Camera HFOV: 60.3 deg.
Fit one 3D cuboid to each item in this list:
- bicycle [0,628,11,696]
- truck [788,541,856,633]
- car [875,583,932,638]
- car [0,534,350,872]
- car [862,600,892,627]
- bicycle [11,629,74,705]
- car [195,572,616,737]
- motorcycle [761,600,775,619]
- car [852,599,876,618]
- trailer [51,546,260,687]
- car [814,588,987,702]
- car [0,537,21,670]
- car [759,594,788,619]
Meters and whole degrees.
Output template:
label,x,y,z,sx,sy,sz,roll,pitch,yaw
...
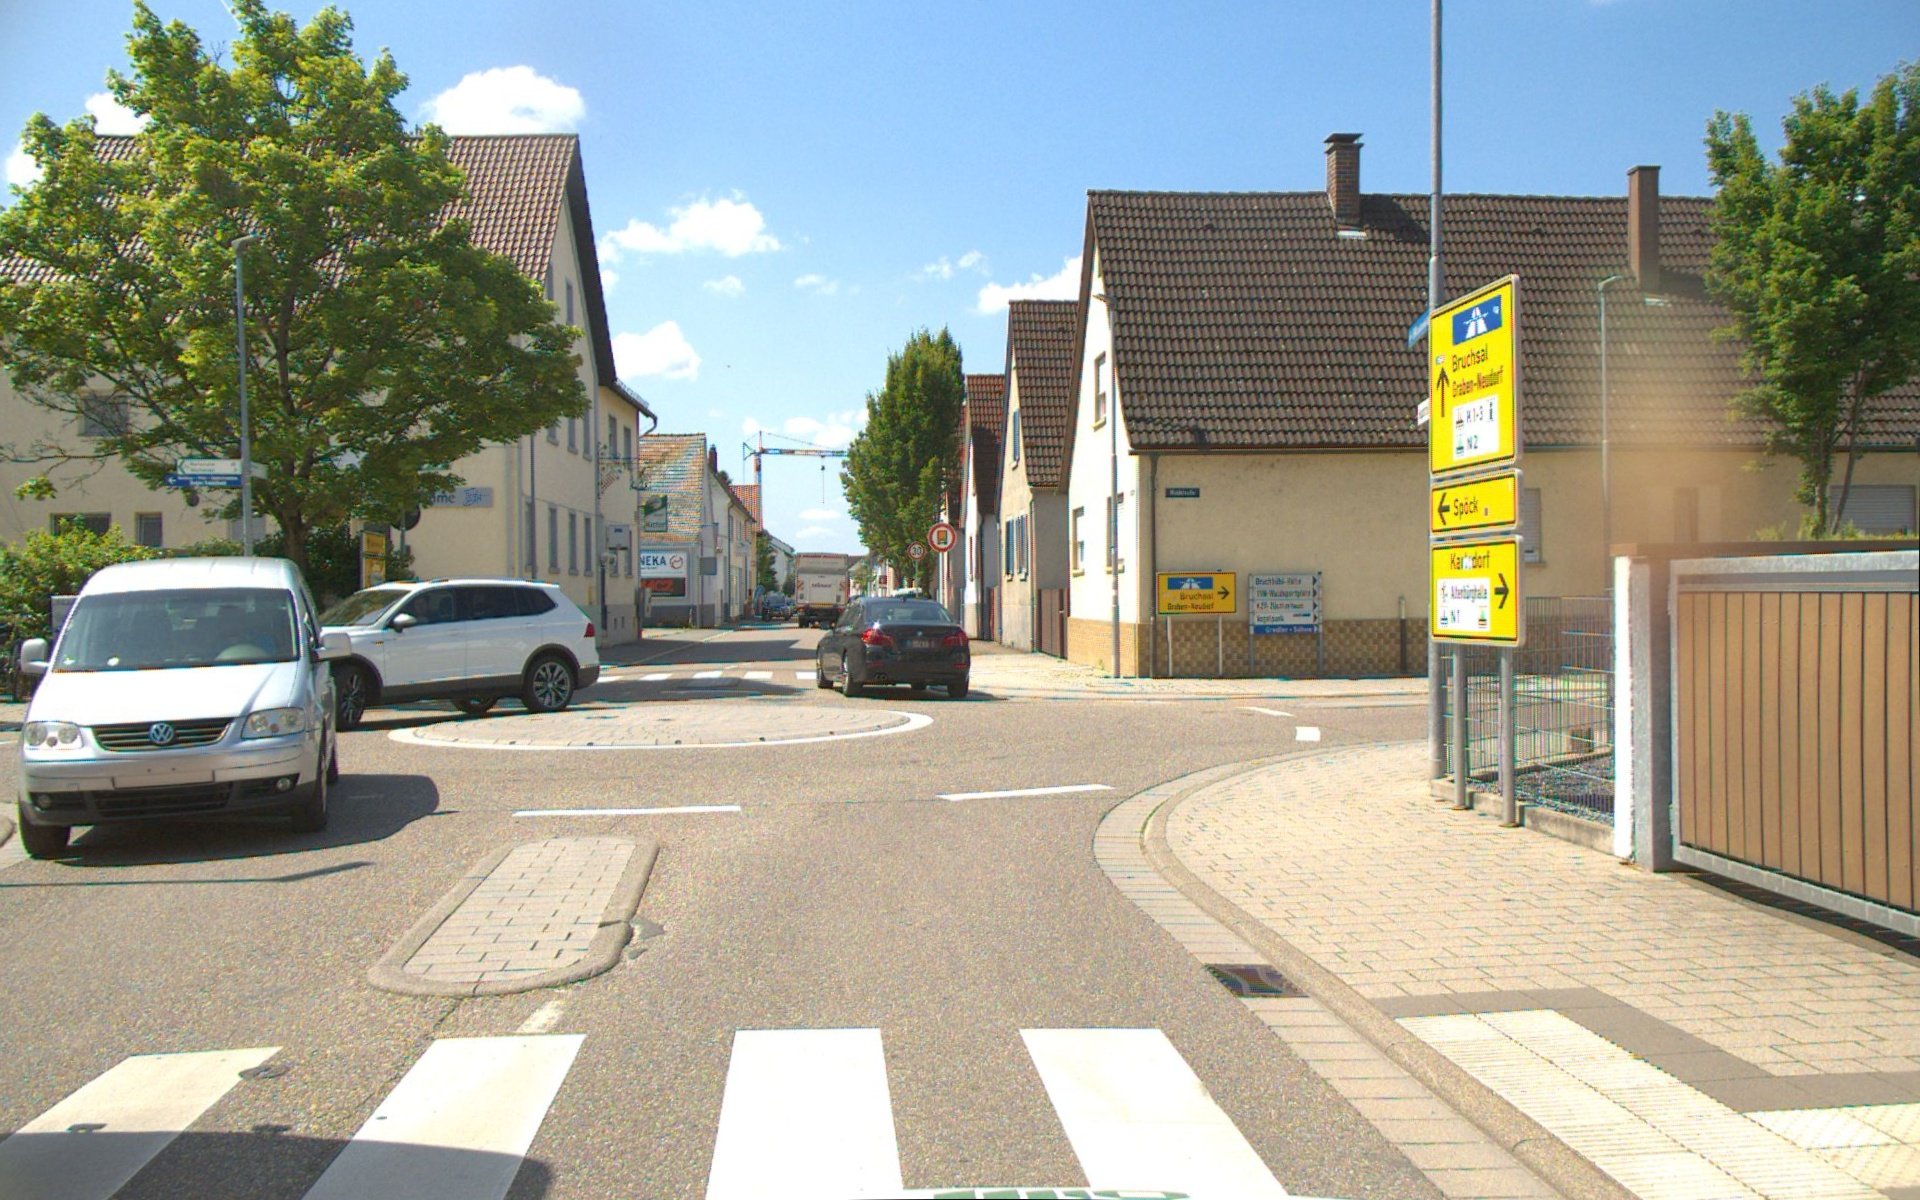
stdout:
label,x,y,z,sx,sy,sz,roll,pitch,yaw
bicycle,-14.910,0.986,25.103,0.393,1.021,1.974,-1,2,-16
truck,-6.911,-0.581,83.935,3.082,4.325,9.295,1,-1,-3
car,-2.060,0.349,59.203,1.686,1.821,4.138,-2,0,-6
car,-5.321,0.577,11.671,1.745,1.853,4.416,-2,0,-19
car,-4.809,0.755,95.860,1.685,1.487,4.154,0,0,-3
bicycle,-14.062,1.003,25.377,0.393,1.021,1.974,-1,2,-16
car,-6.504,0.558,19.832,1.837,1.740,4.520,-1,0,39
motorcycle,-12.231,0.617,105.661,0.830,1.190,2.466,1,-1,-6
car,-7.223,0.630,124.042,1.686,1.379,4.153,0,0,-4
trailer,-14.594,0.271,30.319,1.842,2.376,4.520,1,0,-4
car,-1.021,0.616,25.474,1.869,1.591,4.461,0,0,-13
car,-19.731,0.063,30.498,1.898,2.612,5.643,1,0,-4
car,-12.346,0.424,109.575,1.774,1.617,3.996,0,0,-5
